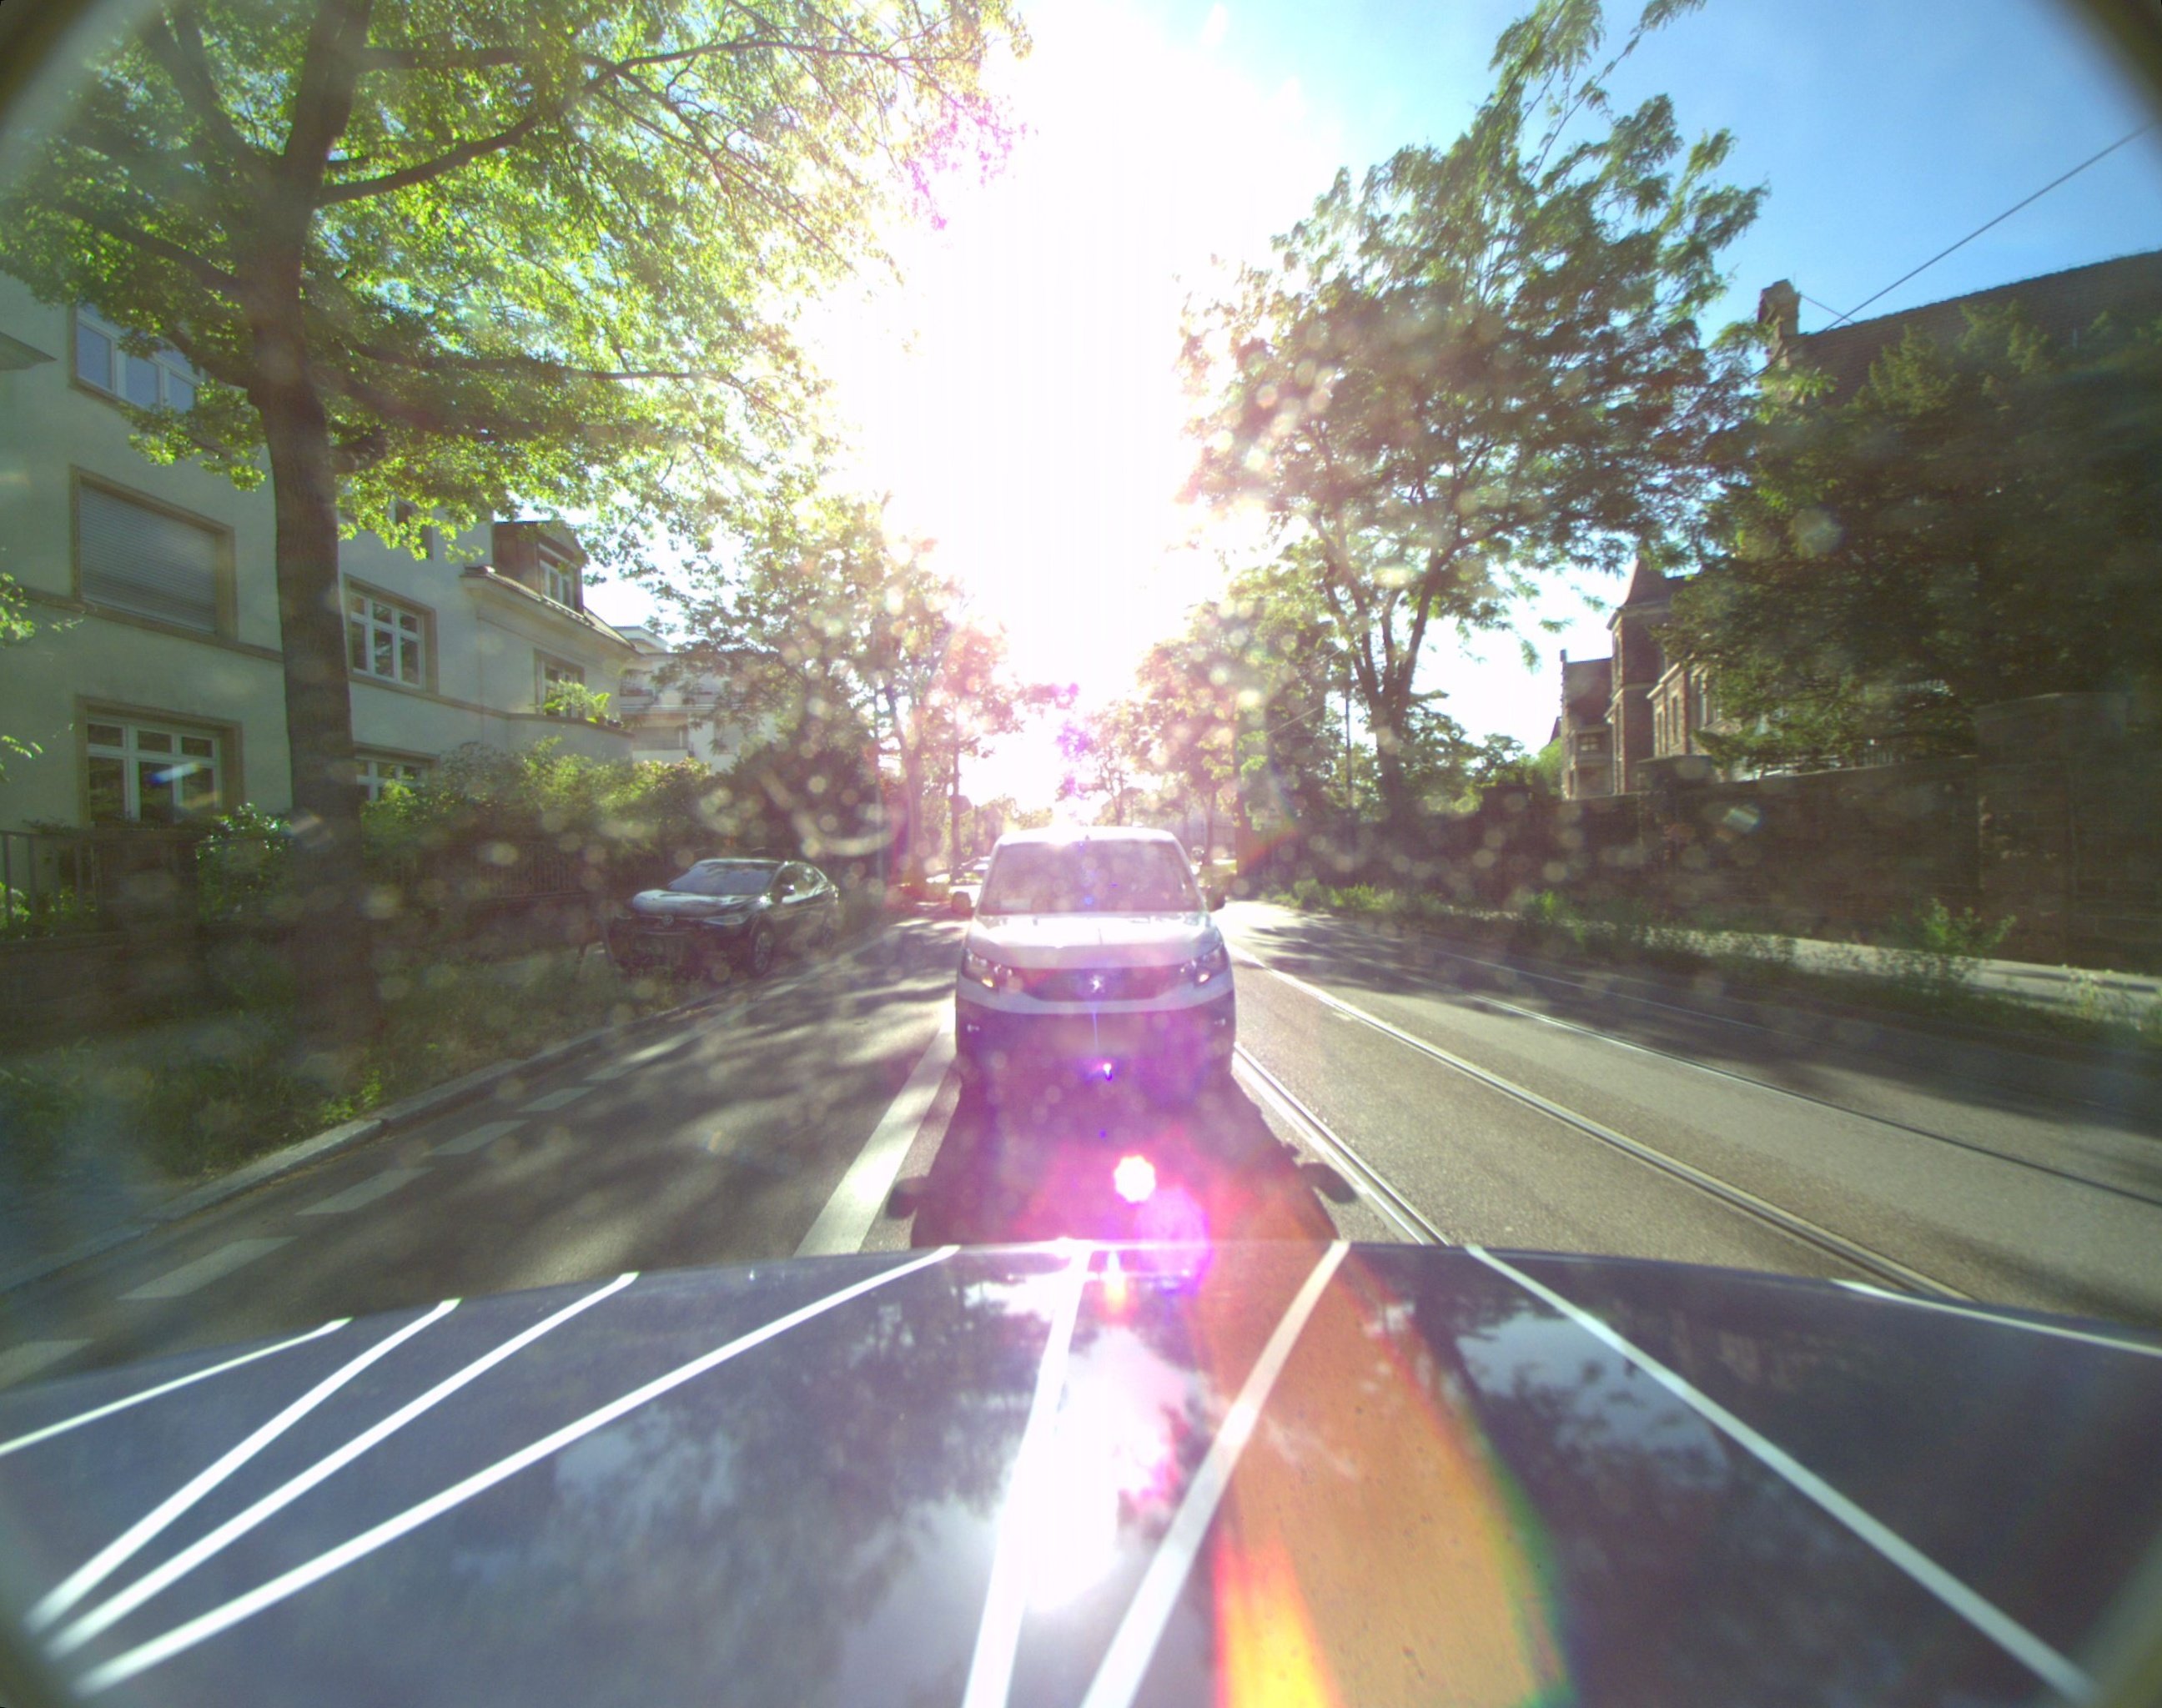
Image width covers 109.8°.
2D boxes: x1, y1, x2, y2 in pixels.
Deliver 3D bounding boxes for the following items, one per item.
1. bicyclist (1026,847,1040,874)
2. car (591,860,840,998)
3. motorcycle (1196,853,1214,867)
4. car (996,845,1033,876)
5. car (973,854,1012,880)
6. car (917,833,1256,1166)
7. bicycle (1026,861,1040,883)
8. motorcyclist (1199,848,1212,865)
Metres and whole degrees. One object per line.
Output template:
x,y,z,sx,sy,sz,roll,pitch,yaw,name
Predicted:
-2.712,0.374,42.700,0.645,1.479,1.115,-2,1,1,bicyclist
-5.165,0.945,11.435,1.743,1.597,4.091,2,0,0,car
10.690,0.476,65.266,0.912,1.146,2.433,-1,0,24,motorcycle
-4.493,0.435,51.916,1.998,2.002,4.583,-2,0,1,car
-5.246,0.756,45.450,1.787,1.443,4.000,-2,0,1,car
0.048,0.785,6.522,1.793,1.770,4.786,-2,0,0,car
-2.687,0.995,42.679,0.644,1.137,1.902,-1,0,1,bicycle
10.686,0.229,65.282,0.890,1.375,0.910,-1,1,23,motorcyclist
